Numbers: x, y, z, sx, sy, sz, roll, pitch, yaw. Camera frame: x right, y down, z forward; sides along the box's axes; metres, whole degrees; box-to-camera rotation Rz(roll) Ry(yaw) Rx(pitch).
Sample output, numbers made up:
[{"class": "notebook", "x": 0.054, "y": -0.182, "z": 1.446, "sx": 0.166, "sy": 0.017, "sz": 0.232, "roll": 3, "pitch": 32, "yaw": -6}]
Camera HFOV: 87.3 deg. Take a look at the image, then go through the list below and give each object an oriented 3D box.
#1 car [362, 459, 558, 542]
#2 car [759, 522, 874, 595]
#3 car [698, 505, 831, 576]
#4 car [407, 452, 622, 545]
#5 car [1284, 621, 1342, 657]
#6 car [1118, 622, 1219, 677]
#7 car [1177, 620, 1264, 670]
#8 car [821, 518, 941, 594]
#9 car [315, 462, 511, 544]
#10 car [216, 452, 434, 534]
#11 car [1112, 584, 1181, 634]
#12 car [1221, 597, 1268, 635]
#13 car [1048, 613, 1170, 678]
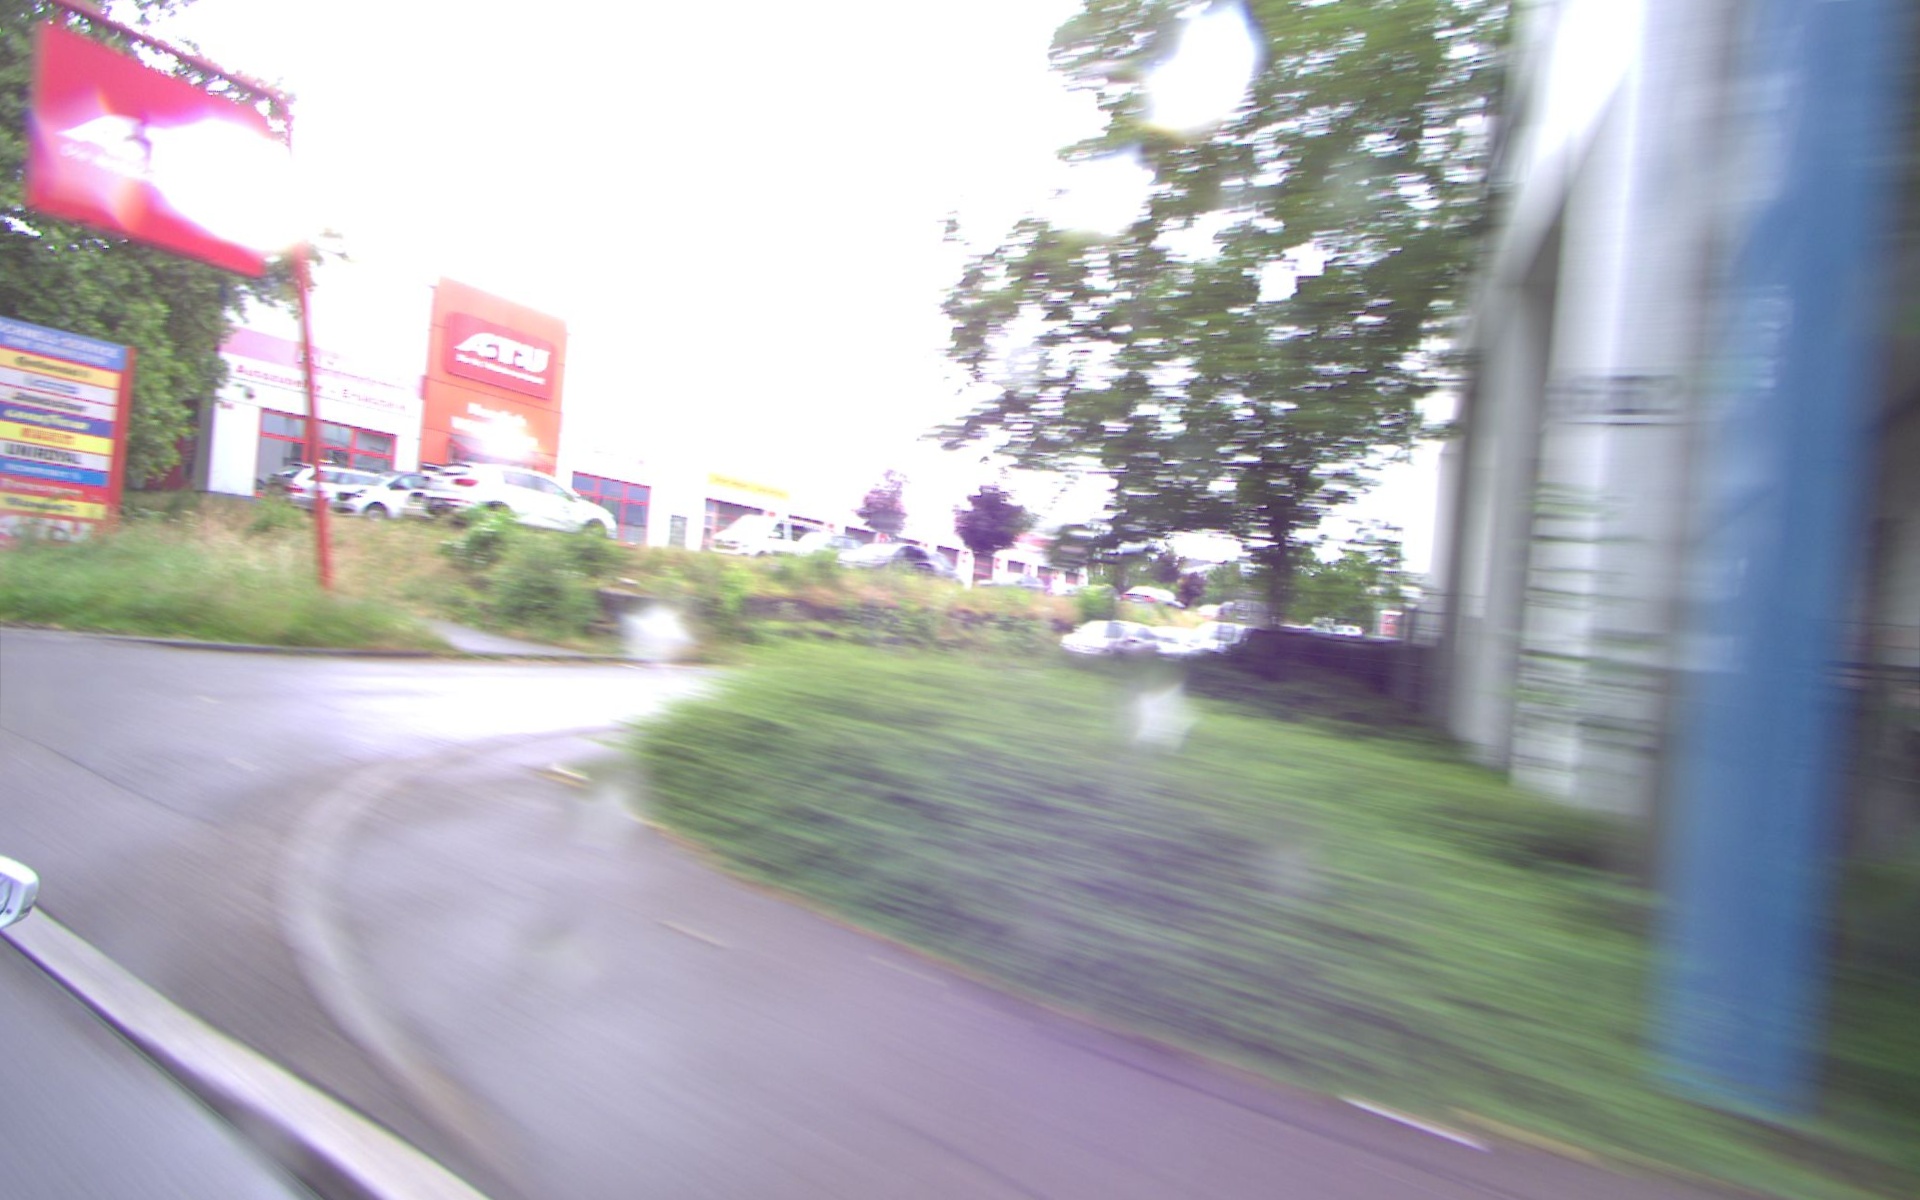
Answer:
[{"class": "car", "x": -12.412, "y": -2.446, "z": 25.194, "sx": 1.803, "sy": 1.308, "sz": 3.924, "roll": 6, "pitch": -2, "yaw": 34}, {"class": "car", "x": -4.693, "y": -1.339, "z": 33.475, "sx": 1.632, "sy": 1.802, "sz": 3.999, "roll": 5, "pitch": -3, "yaw": 28}, {"class": "car", "x": -6.731, "y": -2.013, "z": 35.194, "sx": 1.882, "sy": 1.805, "sz": 4.778, "roll": 7, "pitch": 0, "yaw": 28}, {"class": "car", "x": -10.232, "y": -2.308, "z": 23.399, "sx": 1.872, "sy": 1.392, "sz": 4.105, "roll": 6, "pitch": -2, "yaw": 34}, {"class": "car", "x": 18.674, "y": 2.080, "z": 53.145, "sx": 1.858, "sy": 1.565, "sz": 4.326, "roll": 7, "pitch": 0, "yaw": 32}, {"class": "car", "x": 7.221, "y": 1.673, "z": 34.501, "sx": 1.858, "sy": 1.567, "sz": 4.322, "roll": 7, "pitch": 2, "yaw": 32}, {"class": "car", "x": 10.025, "y": 1.762, "z": 38.462, "sx": 1.858, "sy": 1.565, "sz": 4.326, "roll": 7, "pitch": 0, "yaw": 32}, {"class": "car", "x": -2.462, "y": -1.362, "z": 32.457, "sx": 1.882, "sy": 1.802, "sz": 3.999, "roll": 5, "pitch": -3, "yaw": 28}, {"class": "car", "x": -14.405, "y": -2.524, "z": 26.718, "sx": 1.854, "sy": 1.485, "sz": 4.104, "roll": 7, "pitch": 0, "yaw": 33}, {"class": "car", "x": -17.049, "y": -2.844, "z": 27.269, "sx": 1.771, "sy": 1.350, "sz": 4.617, "roll": 7, "pitch": -1, "yaw": 31}, {"class": "car", "x": 8.582, "y": 0.446, "z": 46.026, "sx": 1.882, "sy": 1.802, "sz": 3.999, "roll": 5, "pitch": -3, "yaw": 28}, {"class": "car", "x": 17.351, "y": 1.009, "z": 61.187, "sx": 1.882, "sy": 1.802, "sz": 3.999, "roll": 5, "pitch": -3, "yaw": 28}, {"class": "car", "x": 4.450, "y": 1.379, "z": 29.494, "sx": 1.801, "sy": 1.565, "sz": 4.326, "roll": 7, "pitch": 0, "yaw": 32}]
